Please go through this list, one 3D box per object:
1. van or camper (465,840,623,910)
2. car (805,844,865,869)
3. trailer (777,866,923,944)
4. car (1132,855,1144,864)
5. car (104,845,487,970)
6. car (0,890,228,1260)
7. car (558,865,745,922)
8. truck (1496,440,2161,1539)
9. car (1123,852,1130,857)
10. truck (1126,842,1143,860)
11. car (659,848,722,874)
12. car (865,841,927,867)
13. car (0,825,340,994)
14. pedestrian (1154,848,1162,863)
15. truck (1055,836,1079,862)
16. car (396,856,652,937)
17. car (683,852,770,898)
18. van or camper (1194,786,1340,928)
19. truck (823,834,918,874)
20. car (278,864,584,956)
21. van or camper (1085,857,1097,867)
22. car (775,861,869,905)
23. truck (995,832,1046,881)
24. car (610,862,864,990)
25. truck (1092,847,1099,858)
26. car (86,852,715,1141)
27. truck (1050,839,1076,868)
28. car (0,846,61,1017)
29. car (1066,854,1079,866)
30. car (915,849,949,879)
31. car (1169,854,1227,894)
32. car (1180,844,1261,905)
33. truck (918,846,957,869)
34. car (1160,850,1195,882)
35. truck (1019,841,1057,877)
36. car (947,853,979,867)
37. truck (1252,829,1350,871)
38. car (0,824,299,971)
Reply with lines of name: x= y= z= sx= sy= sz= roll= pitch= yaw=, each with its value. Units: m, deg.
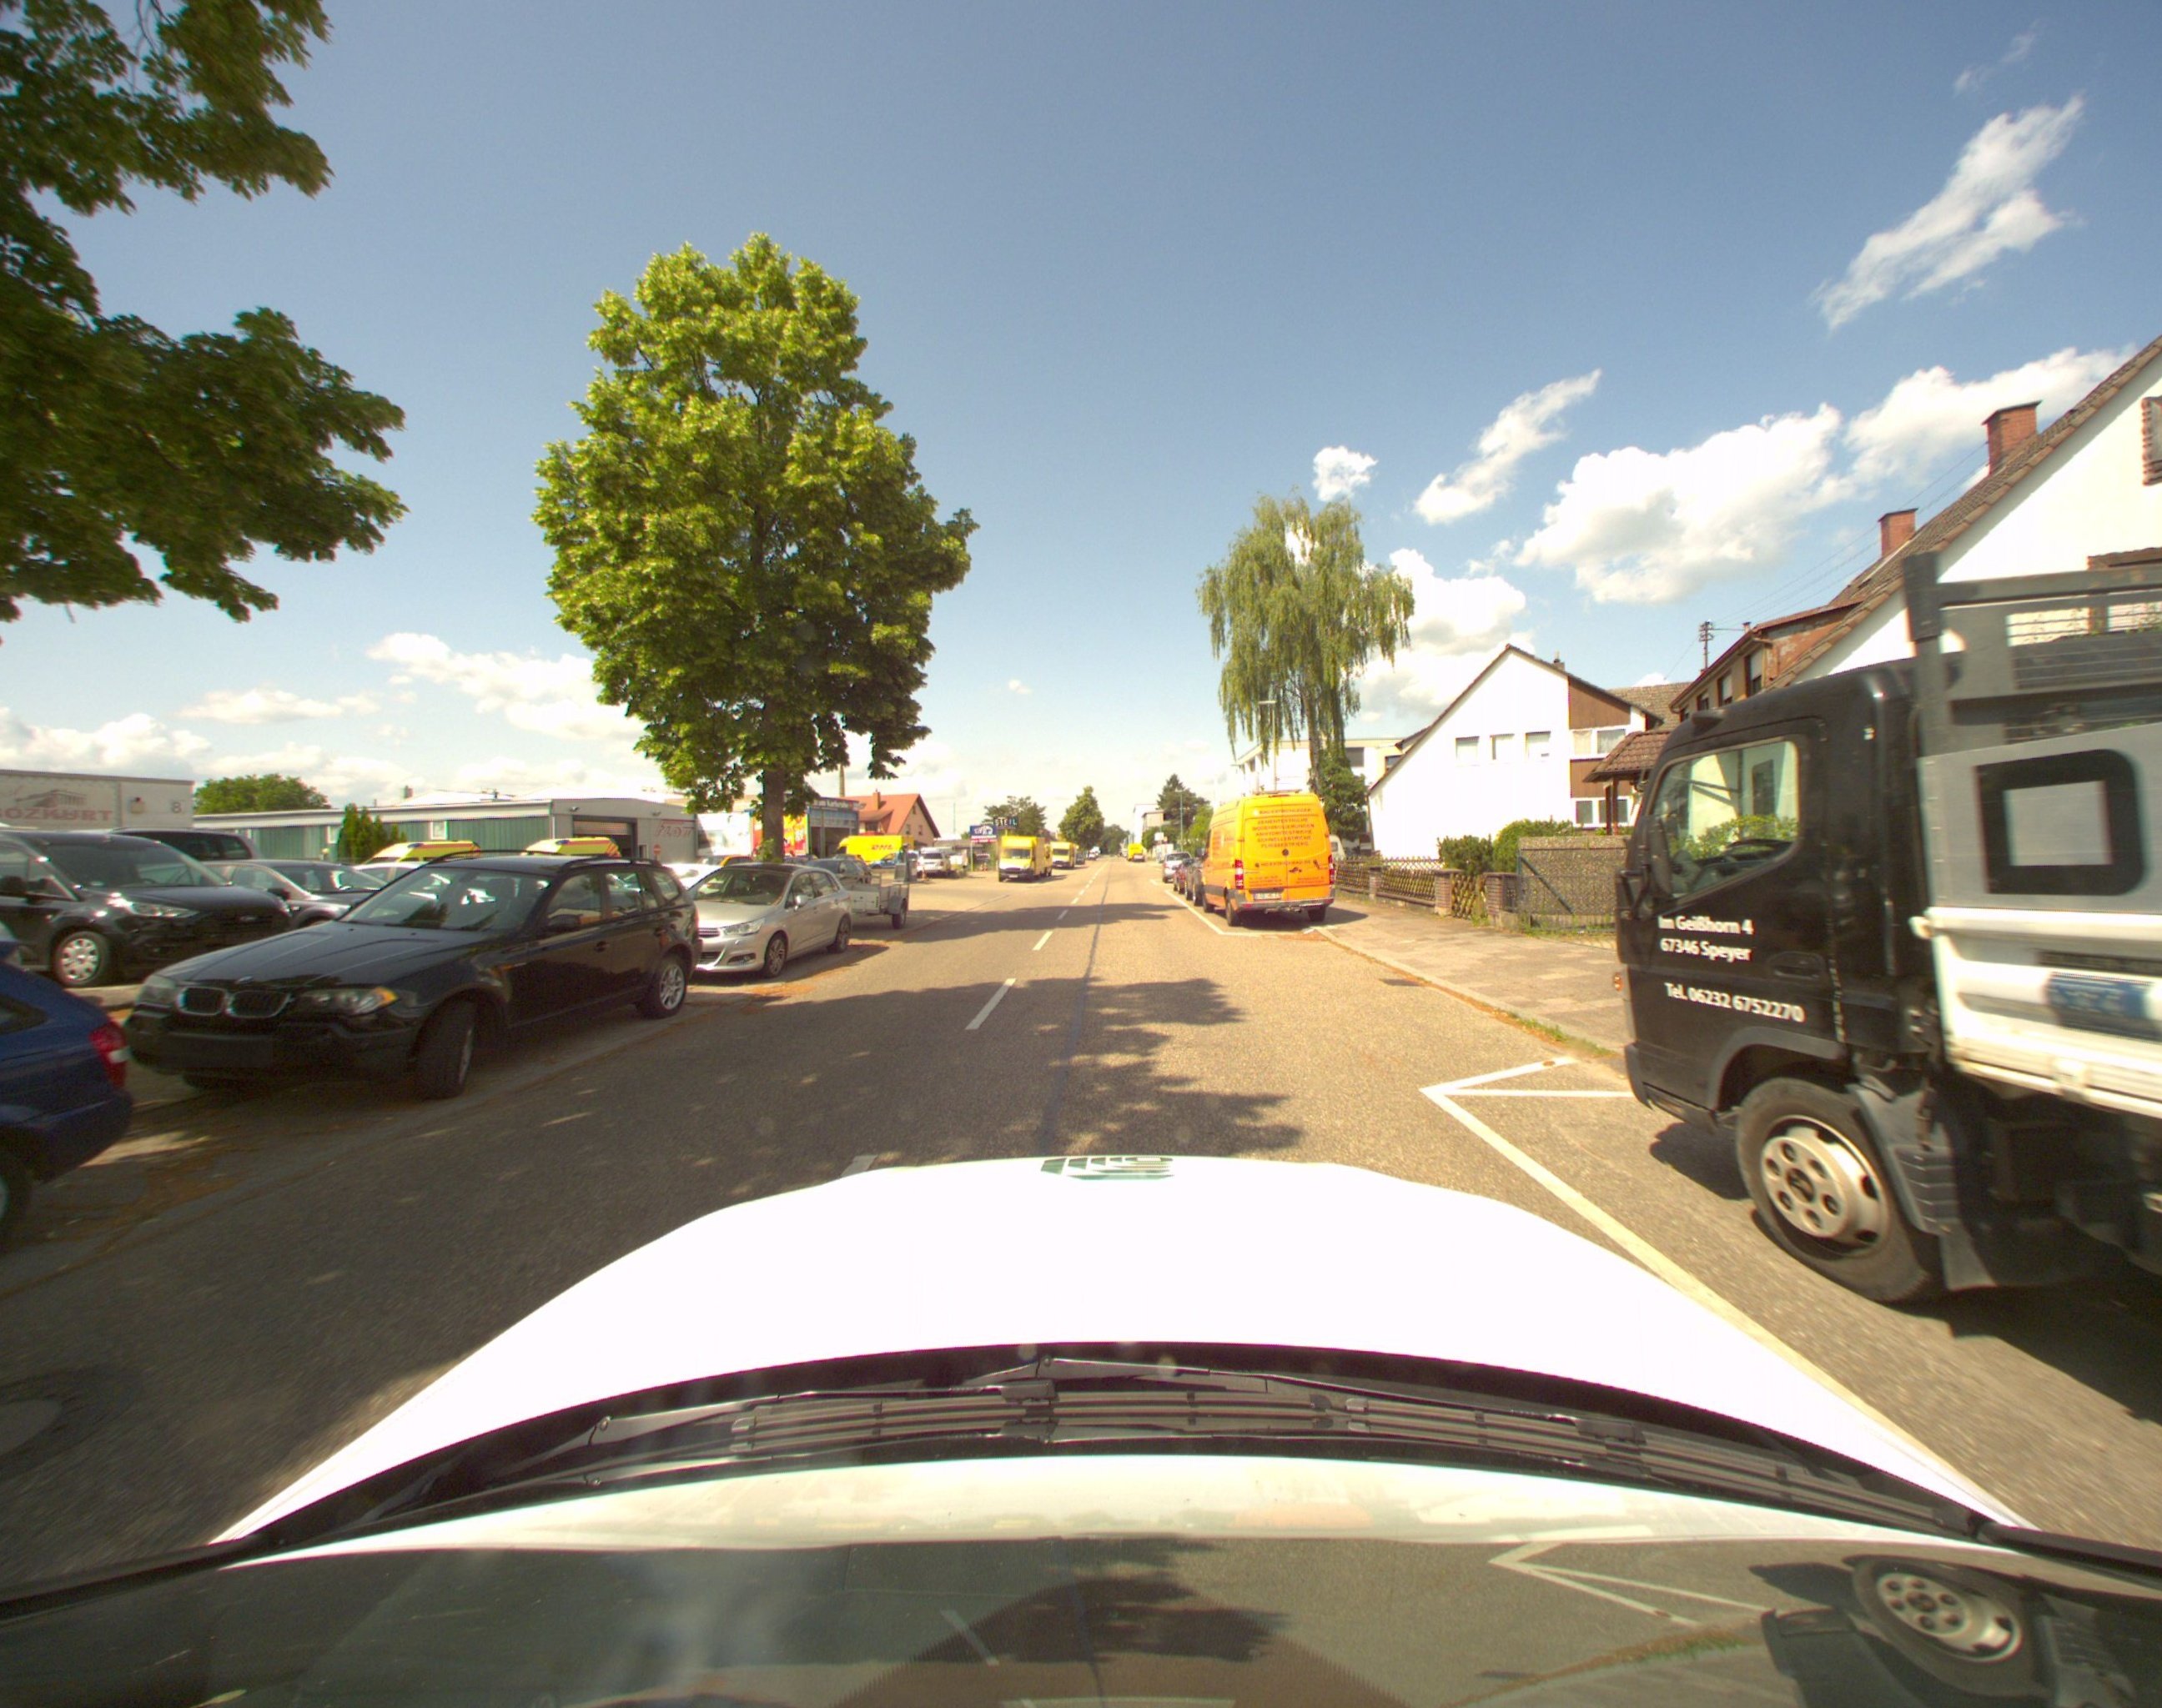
van or camper: x=-21.163 y=0.724 z=32.456 sx=1.981 sy=2.475 sz=5.377 roll=-1 pitch=1 yaw=10
car: x=-18.125 y=0.157 z=59.990 sx=3.816 sy=1.731 sz=1.738 roll=-2 pitch=0 yaw=13
trailer: x=-4.733 y=0.981 z=17.397 sx=1.756 sy=1.289 sz=4.507 roll=2 pitch=0 yaw=0
car: x=8.575 y=0.819 z=122.681 sx=1.645 sy=1.386 sz=4.426 roll=0 pitch=1 yaw=2
car: x=-11.648 y=0.760 z=12.251 sx=4.125 sy=1.618 sz=1.829 roll=-2 pitch=-1 yaw=4
car: x=-5.461 y=0.963 z=2.183 sx=1.690 sy=1.483 sz=4.166 roll=-1 pitch=0 yaw=6
car: x=-11.302 y=1.018 z=21.576 sx=4.005 sy=1.374 sz=1.831 roll=-1 pitch=0 yaw=7
truck: x=3.475 y=0.227 z=1.494 sx=2.512 sy=2.299 sz=5.899 roll=-4 pitch=0 yaw=3
car: x=12.770 y=0.243 z=226.877 sx=1.921 sy=1.310 sz=4.002 roll=-2 pitch=0 yaw=2
truck: x=8.731 y=-0.490 z=134.248 sx=2.465 sy=2.940 sz=7.190 roll=0 pitch=0 yaw=1
car: x=-25.617 y=0.432 z=53.449 sx=3.480 sy=1.592 sz=1.568 roll=-2 pitch=0 yaw=15
car: x=-13.290 y=0.011 z=58.573 sx=3.902 sy=1.810 sz=1.862 roll=1 pitch=1 yaw=12
car: x=-11.811 y=0.654 z=9.860 sx=4.125 sy=1.788 sz=1.829 roll=-2 pitch=-1 yaw=4
pedestrian: x=9.119 y=0.198 z=96.371 sx=0.714 sy=1.697 sz=0.522 roll=-7 pitch=0 yaw=-3
truck: x=-1.568 y=-0.543 z=94.190 sx=2.307 sy=2.862 sz=7.108 roll=1 pitch=0 yaw=2
car: x=-11.513 y=0.849 z=17.015 sx=4.125 sy=1.490 sz=1.829 roll=-2 pitch=-1 yaw=4
car: x=-13.677 y=0.771 z=31.577 sx=1.434 sy=1.655 sz=3.310 roll=-2 pitch=0 yaw=10
van or camper: x=3.947 y=0.040 z=18.427 sx=1.987 sy=2.664 sz=5.770 roll=-2 pitch=0 yaw=1
truck: x=-16.154 y=0.016 z=62.598 sx=6.549 sy=2.850 sz=2.539 roll=-1 pitch=0 yaw=15
car: x=-11.577 y=0.962 z=14.678 sx=4.125 sy=1.431 sz=1.829 roll=-2 pitch=-1 yaw=4
van or camper: x=2.508 y=1.870 z=194.472 sx=2.163 sy=2.413 sz=7.709 roll=-2 pitch=0 yaw=5
car: x=-9.452 y=0.999 z=30.139 sx=1.746 sy=1.410 sz=4.588 roll=-1 pitch=0 yaw=3
truck: x=-3.686 y=0.135 z=51.059 sx=2.210 sy=2.857 sz=7.077 roll=0 pitch=0 yaw=4
car: x=-4.951 y=0.937 z=12.475 sx=1.825 sy=1.528 sz=4.242 roll=0 pitch=0 yaw=4
truck: x=4.293 y=-0.468 z=239.123 sx=2.021 sy=3.154 sz=6.504 roll=-2 pitch=0 yaw=2
car: x=-5.109 y=0.858 z=7.128 sx=1.686 sy=1.700 sz=4.402 roll=1 pitch=0 yaw=2
truck: x=-1.820 y=-0.058 z=84.618 sx=2.260 sy=2.855 sz=7.177 roll=0 pitch=0 yaw=2
car: x=-12.362 y=0.807 z=7.227 sx=4.279 sy=1.614 sz=1.828 roll=-2 pitch=1 yaw=1
car: x=-1.129 y=0.828 z=112.289 sx=1.718 sy=1.604 sz=4.414 roll=2 pitch=0 yaw=1
car: x=-9.599 y=0.597 z=52.748 sx=1.826 sy=1.705 sz=4.698 roll=-2 pitch=2 yaw=-6
car: x=4.347 y=0.688 z=30.791 sx=1.663 sy=1.335 sz=4.440 roll=-1 pitch=0 yaw=2
car: x=4.058 y=0.551 z=24.383 sx=1.825 sy=1.640 sz=4.242 roll=-2 pitch=0 yaw=2
truck: x=-16.535 y=0.352 z=94.335 sx=2.094 sy=2.487 sz=5.745 roll=-1 pitch=0 yaw=16
car: x=4.962 y=0.565 z=42.057 sx=1.603 sy=1.580 sz=4.004 roll=0 pitch=0 yaw=4
truck: x=-3.021 y=0.349 z=58.770 sx=1.985 sy=2.413 sz=6.070 roll=-1 pitch=0 yaw=4
car: x=-12.404 y=0.632 z=85.741 sx=1.795 sy=1.305 sz=3.887 roll=-2 pitch=1 yaw=17
truck: x=14.599 y=-0.296 z=54.036 sx=6.068 sy=2.577 sz=2.546 roll=-1 pitch=0 yaw=-24
car: x=-15.467 y=0.612 z=13.168 sx=1.705 sy=2.013 sz=3.999 roll=-2 pitch=0 yaw=0
